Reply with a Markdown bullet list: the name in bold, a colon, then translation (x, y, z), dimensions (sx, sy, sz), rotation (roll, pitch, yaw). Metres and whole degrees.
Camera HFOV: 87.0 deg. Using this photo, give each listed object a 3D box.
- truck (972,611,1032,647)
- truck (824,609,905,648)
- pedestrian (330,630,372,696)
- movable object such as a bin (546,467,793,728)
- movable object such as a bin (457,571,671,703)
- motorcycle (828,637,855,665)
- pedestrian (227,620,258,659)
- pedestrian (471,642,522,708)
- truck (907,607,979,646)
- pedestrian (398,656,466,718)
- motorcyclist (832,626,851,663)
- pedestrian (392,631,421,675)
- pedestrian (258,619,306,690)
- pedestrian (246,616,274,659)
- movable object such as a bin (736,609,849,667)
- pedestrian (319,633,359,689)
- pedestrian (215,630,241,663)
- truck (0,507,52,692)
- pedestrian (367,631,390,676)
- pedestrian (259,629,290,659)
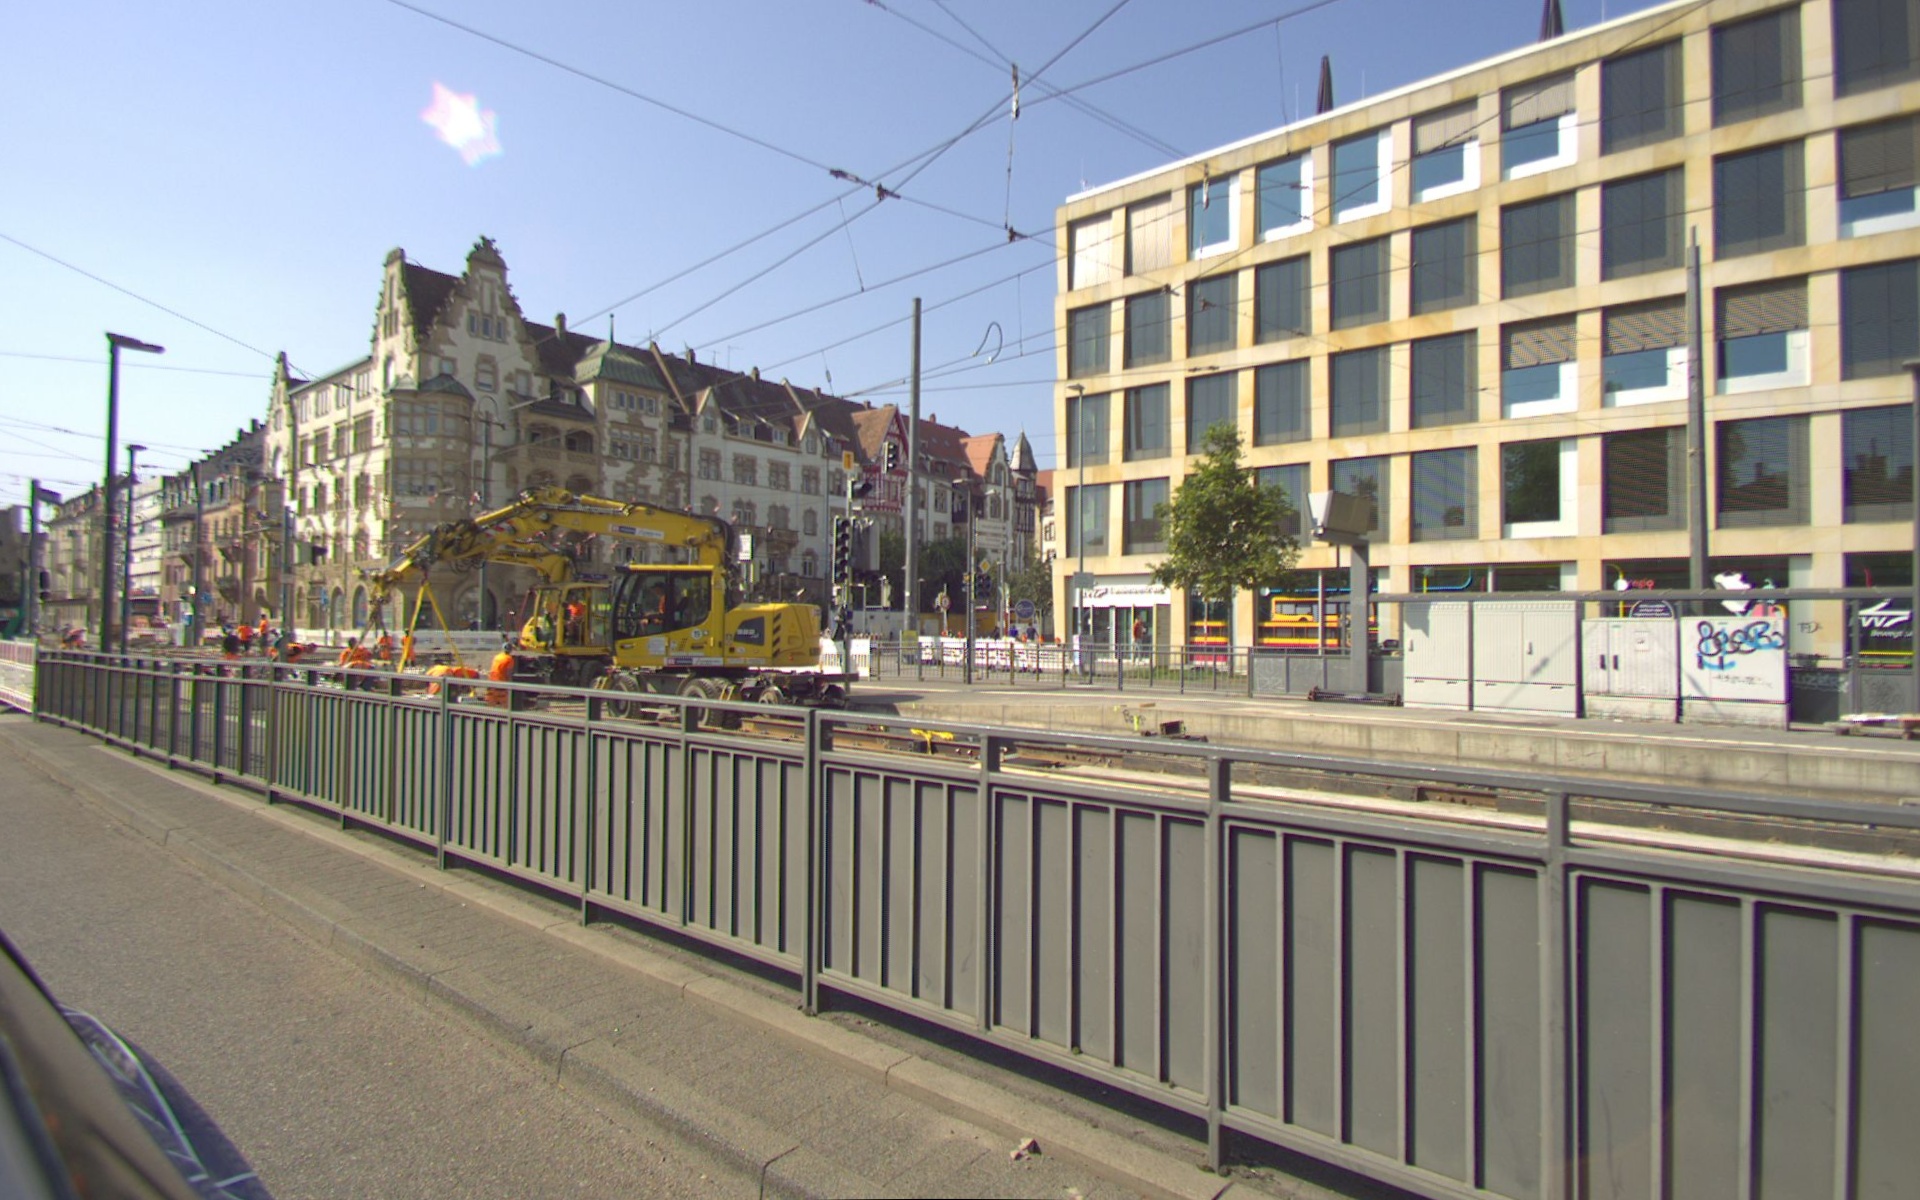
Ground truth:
- **truck**: translation (3.794, 2.621, 90.881), dimensions (2.235, 3.067, 6.276), rotation (-1, -3, 37)
- **truck**: translation (-7.158, 2.188, 76.509), dimensions (2.688, 2.836, 5.963), rotation (-1, -3, 38)
- **pedestrian**: translation (-12.799, 1.305, 21.282), dimensions (0.691, 1.345, 0.839), rotation (2, -3, -29)
- **movable object such as a bin**: translation (-5.858, 0.036, 20.297), dimensions (4.211, 4.589, 2.954), rotation (-2, -3, 43)
- **movable object such as a bin**: translation (-10.665, 1.003, 27.549), dimensions (3.548, 3.247, 4.090), rotation (-1, -3, 25)
- **motorcycle**: translation (-3.956, 1.692, 33.737), dimensions (0.423, 0.885, 1.639), rotation (5, -4, -22)
- **pedestrian**: translation (-29.685, 1.643, 41.871), dimensions (0.727, 1.568, 0.753), rotation (1, -2, -2)
- **pedestrian**: translation (-8.409, 1.349, 18.379), dimensions (0.691, 1.164, 0.589), rotation (1, -2, -10)
- **truck**: translation (-1.326, 2.208, 83.418), dimensions (2.627, 3.067, 6.276), rotation (-1, -3, 37)
- **pedestrian**: translation (-8.637, 1.403, 16.565), dimensions (0.881, 0.962, 0.693), rotation (-2, -3, 41)
- **motorcyclist**: translation (-3.959, 1.486, 33.719), dimensions (0.423, 1.188, 0.517), rotation (5, -4, -22)
- **pedestrian**: translation (-22.050, 2.116, 40.316), dimensions (0.758, 1.715, 0.731), rotation (-1, -3, 39)
- **pedestrian**: translation (-14.459, 1.158, 21.594), dimensions (0.730, 1.490, 0.705), rotation (2, -3, -27)
- **pedestrian**: translation (-28.742, 1.545, 41.527), dimensions (0.678, 1.715, 0.743), rotation (-1, -3, 40)
- **movable object such as a bin**: translation (-8.607, 1.951, 52.535), dimensions (2.489, 2.810, 5.444), rotation (0, -1, 41)
- **pedestrian**: translation (-13.482, 1.321, 21.990), dimensions (0.691, 1.186, 0.704), rotation (2, -3, -29)
- **pedestrian**: translation (-28.232, 1.784, 39.049), dimensions (0.547, 1.256, 0.669), rotation (-1, -3, 39)
- **truck**: translation (-23.959, 0.012, 22.664), dimensions (8.982, 3.818, 2.787), rotation (-1, -3, 31)
- **pedestrian**: translation (-22.832, 2.092, 39.764), dimensions (0.728, 1.715, 0.761), rotation (2, -3, -31)
- **pedestrian**: translation (-28.911, 1.867, 42.660), dimensions (0.864, 1.192, 0.723), rotation (1, -4, 33)
